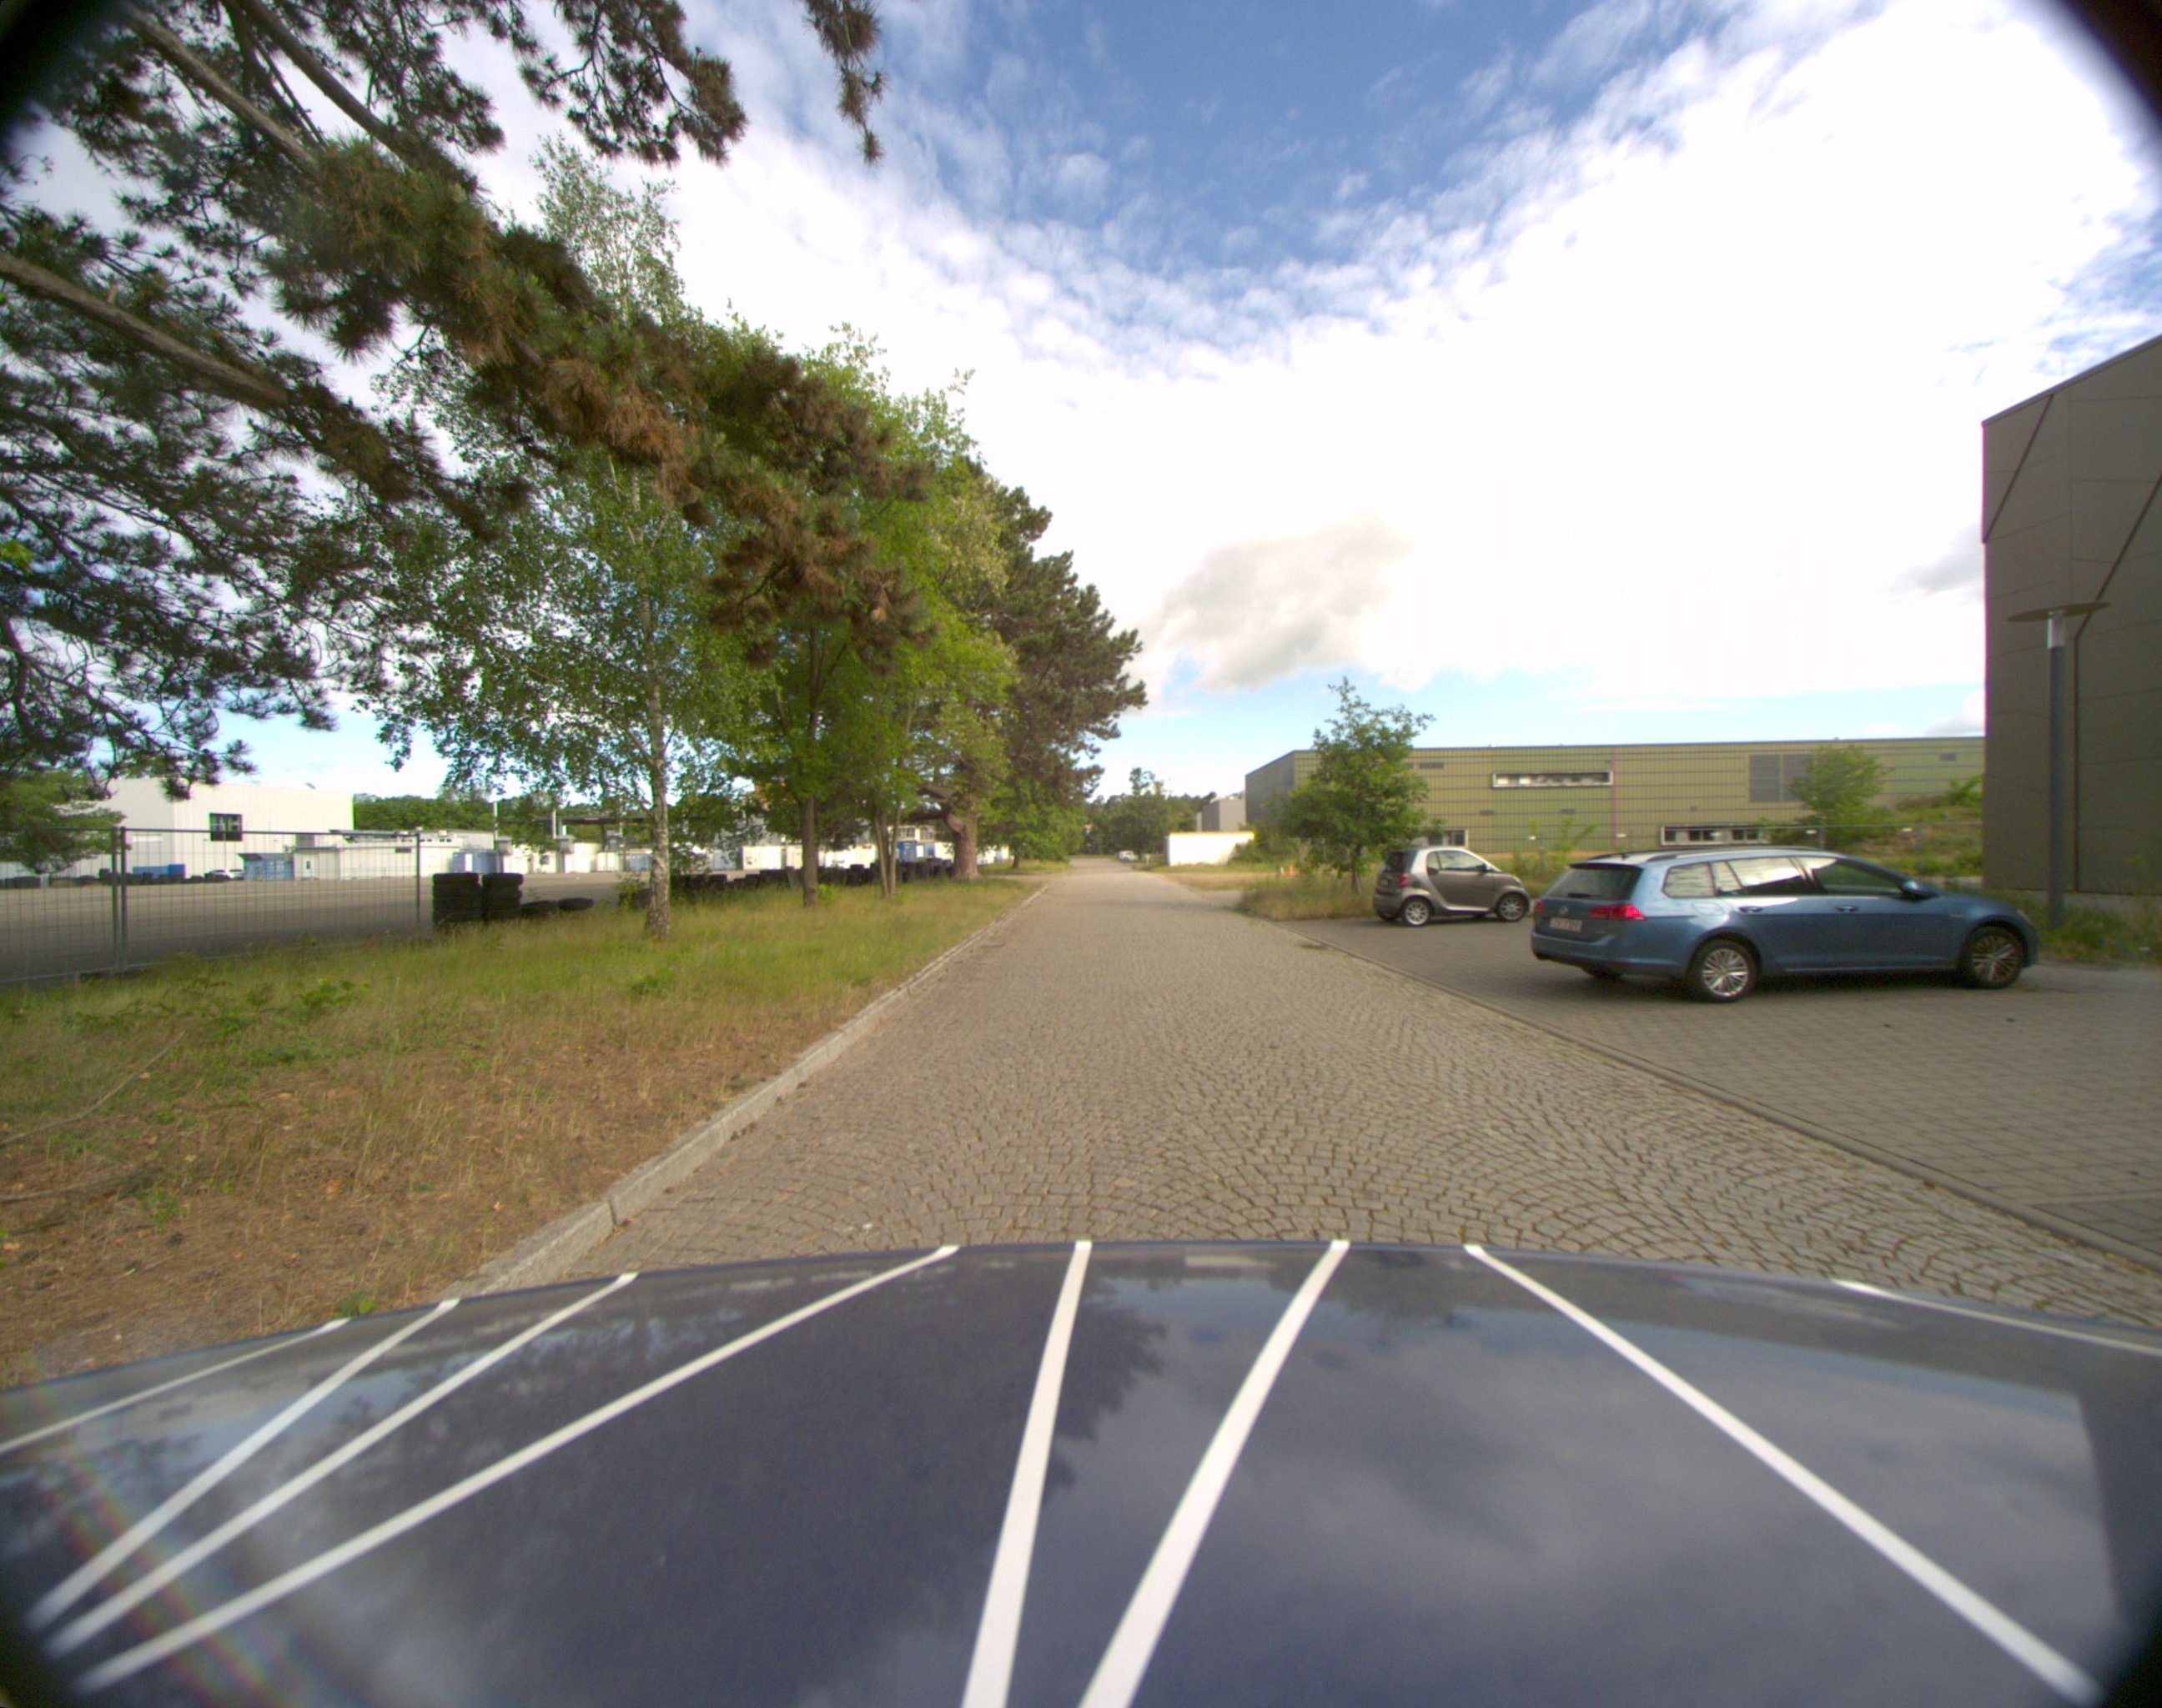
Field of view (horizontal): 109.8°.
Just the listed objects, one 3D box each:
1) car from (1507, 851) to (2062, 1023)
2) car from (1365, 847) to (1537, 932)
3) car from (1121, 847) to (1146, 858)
[{"bbox_3d":[7.181,0.768,8.062,4.317,1.420,1.773,-3,1,-2],"label":"car"},{"bbox_3d":[7.391,0.673,15.360,2.661,1.502,1.610,-2,1,0],"label":"car"},{"bbox_3d":[8.484,-0.280,122.572,3.996,1.604,1.797,-1,1,4],"label":"car"}]
